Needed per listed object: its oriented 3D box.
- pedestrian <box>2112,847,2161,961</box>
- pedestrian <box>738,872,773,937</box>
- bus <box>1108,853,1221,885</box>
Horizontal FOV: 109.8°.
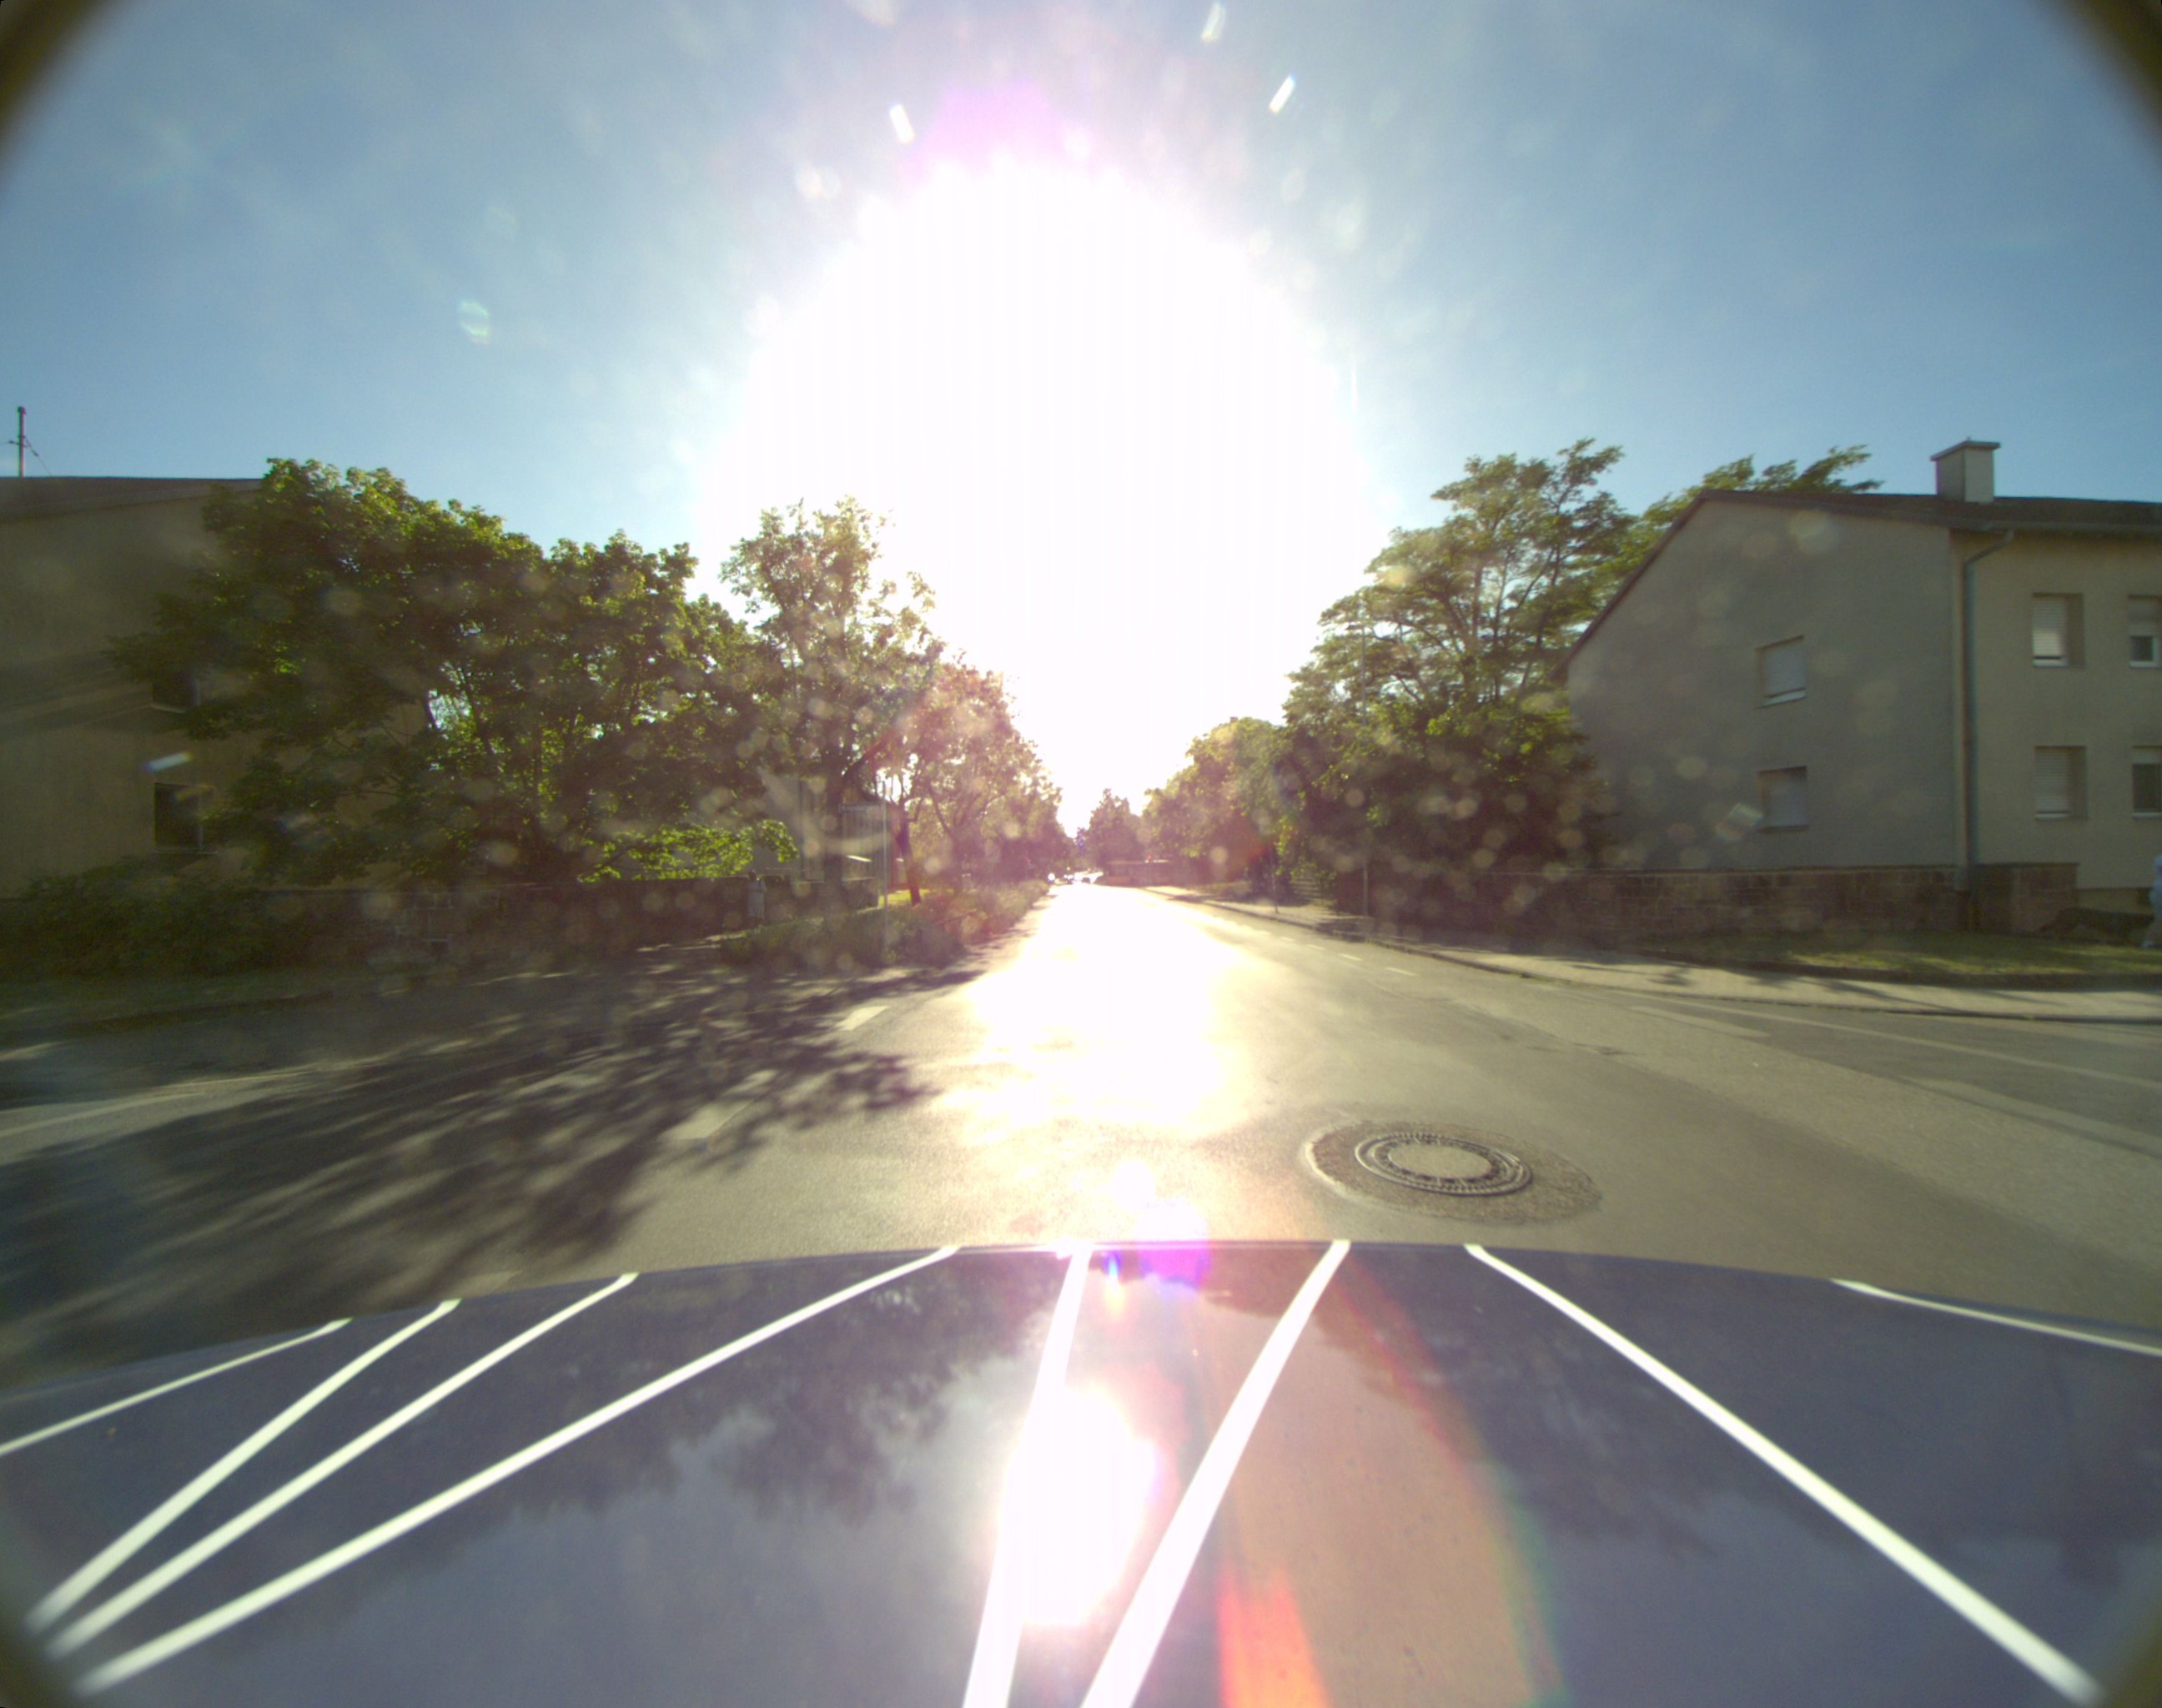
[{"bbox_3d":[15.199,0.680,10.559,0.786,1.544,0.639,-3,-1,-4],"label":"pedestrian"},{"bbox_3d":[-8.655,1.341,20.216,0.638,1.695,0.612,1,-1,-2],"label":"pedestrian"},{"bbox_3d":[9.494,1.773,87.303,12.449,3.079,3.136,-4,-2,28],"label":"bus"}]
